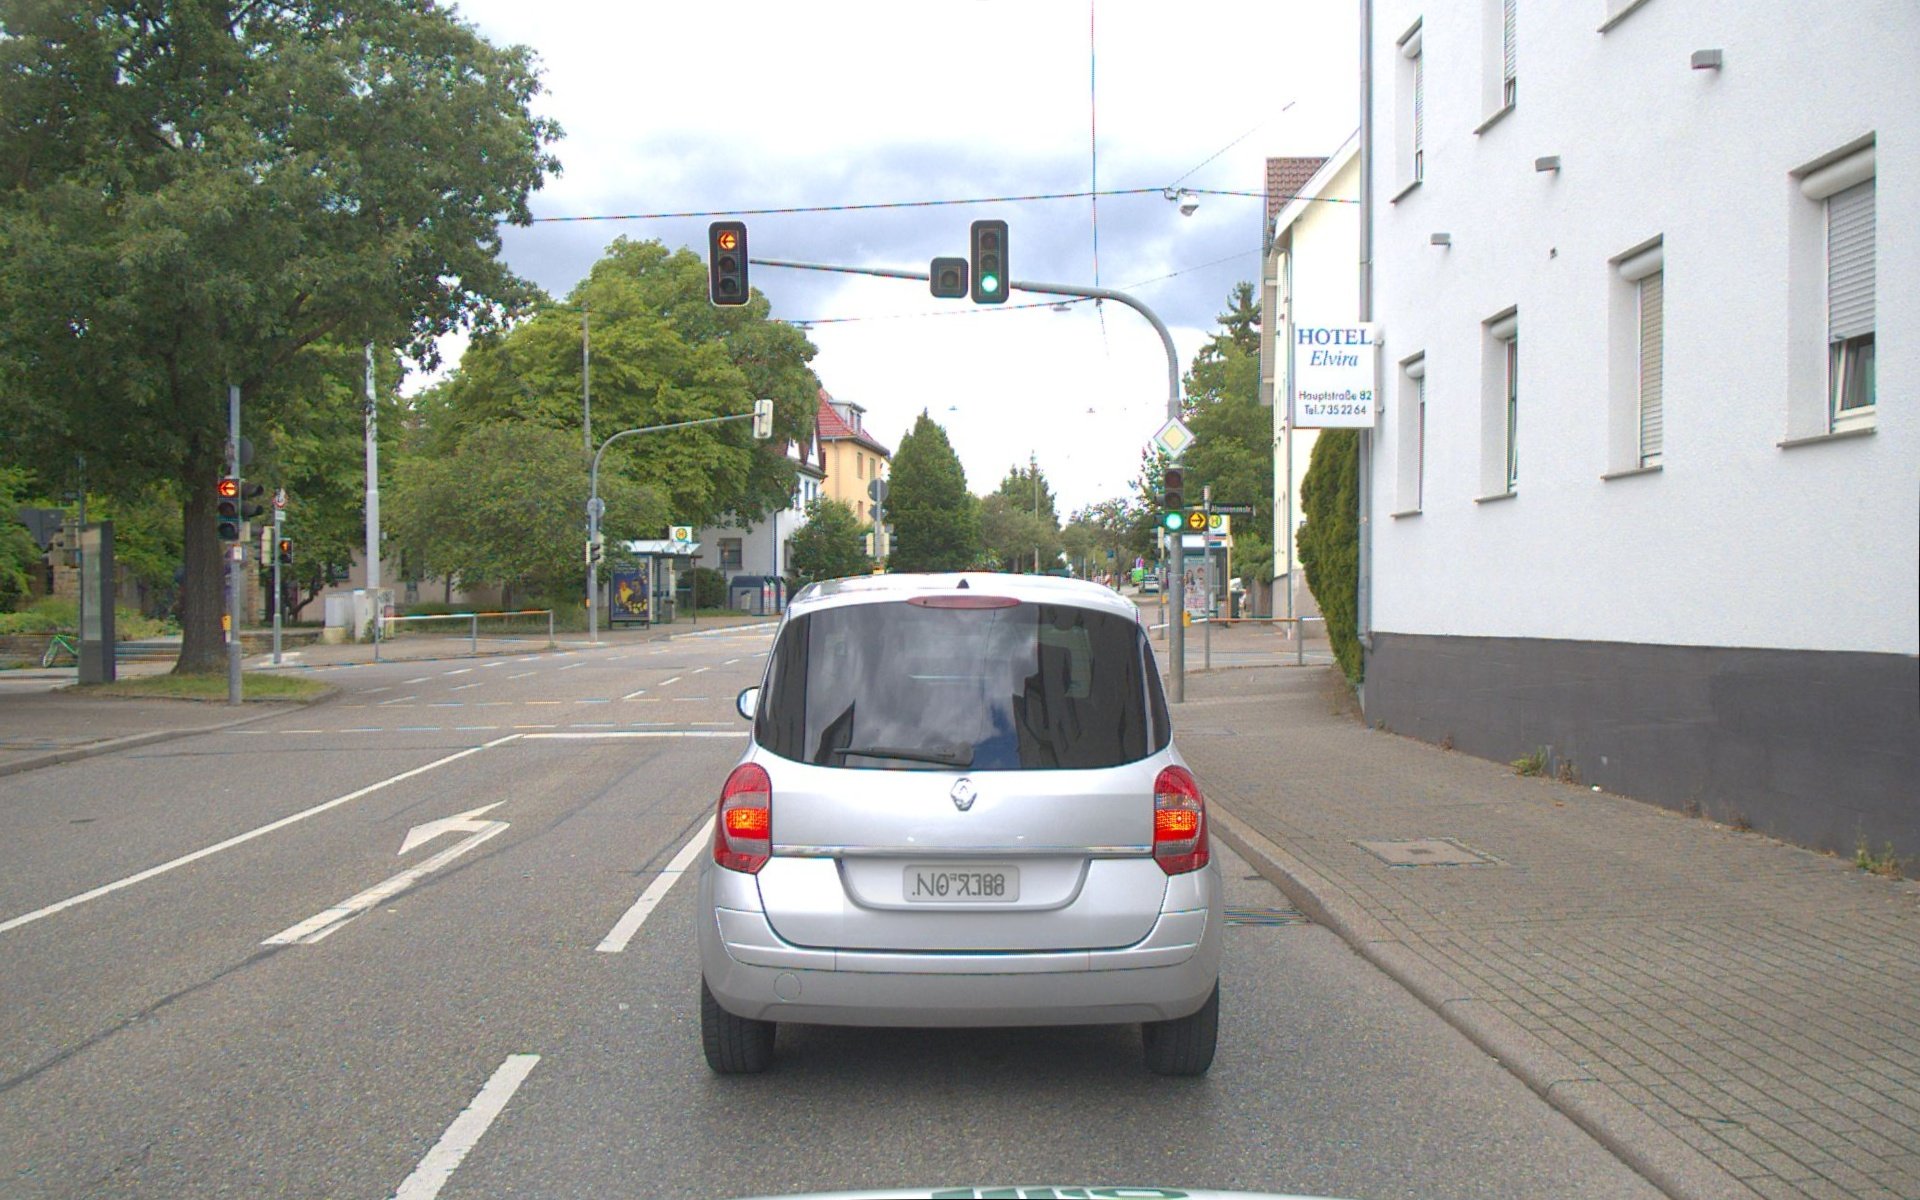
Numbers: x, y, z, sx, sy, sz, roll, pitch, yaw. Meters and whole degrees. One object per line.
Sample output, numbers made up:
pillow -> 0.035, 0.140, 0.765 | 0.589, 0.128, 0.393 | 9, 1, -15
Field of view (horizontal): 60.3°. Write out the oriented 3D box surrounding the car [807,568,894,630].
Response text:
car -> -3.537, -0.049, 54.126 | 1.885, 1.804, 4.004 | -4, 0, 9

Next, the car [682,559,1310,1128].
car -> 0.063, 0.673, 6.559 | 1.719, 1.557, 3.999 | 1, 0, -1

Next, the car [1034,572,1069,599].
car -> 6.258, -0.996, 112.679 | 1.818, 1.778, 4.003 | 1, 0, 11

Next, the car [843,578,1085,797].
car -> -0.010, 0.626, 13.764 | 1.719, 1.557, 3.796 | 1, 0, -1

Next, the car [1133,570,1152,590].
car -> 24.324, -2.661, 220.187 | 2.015, 2.556, 5.600 | 0, 0, 11

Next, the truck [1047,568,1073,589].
truck -> 10.083, -2.163, 166.681 | 2.056, 2.049, 5.752 | 1, 0, 9
